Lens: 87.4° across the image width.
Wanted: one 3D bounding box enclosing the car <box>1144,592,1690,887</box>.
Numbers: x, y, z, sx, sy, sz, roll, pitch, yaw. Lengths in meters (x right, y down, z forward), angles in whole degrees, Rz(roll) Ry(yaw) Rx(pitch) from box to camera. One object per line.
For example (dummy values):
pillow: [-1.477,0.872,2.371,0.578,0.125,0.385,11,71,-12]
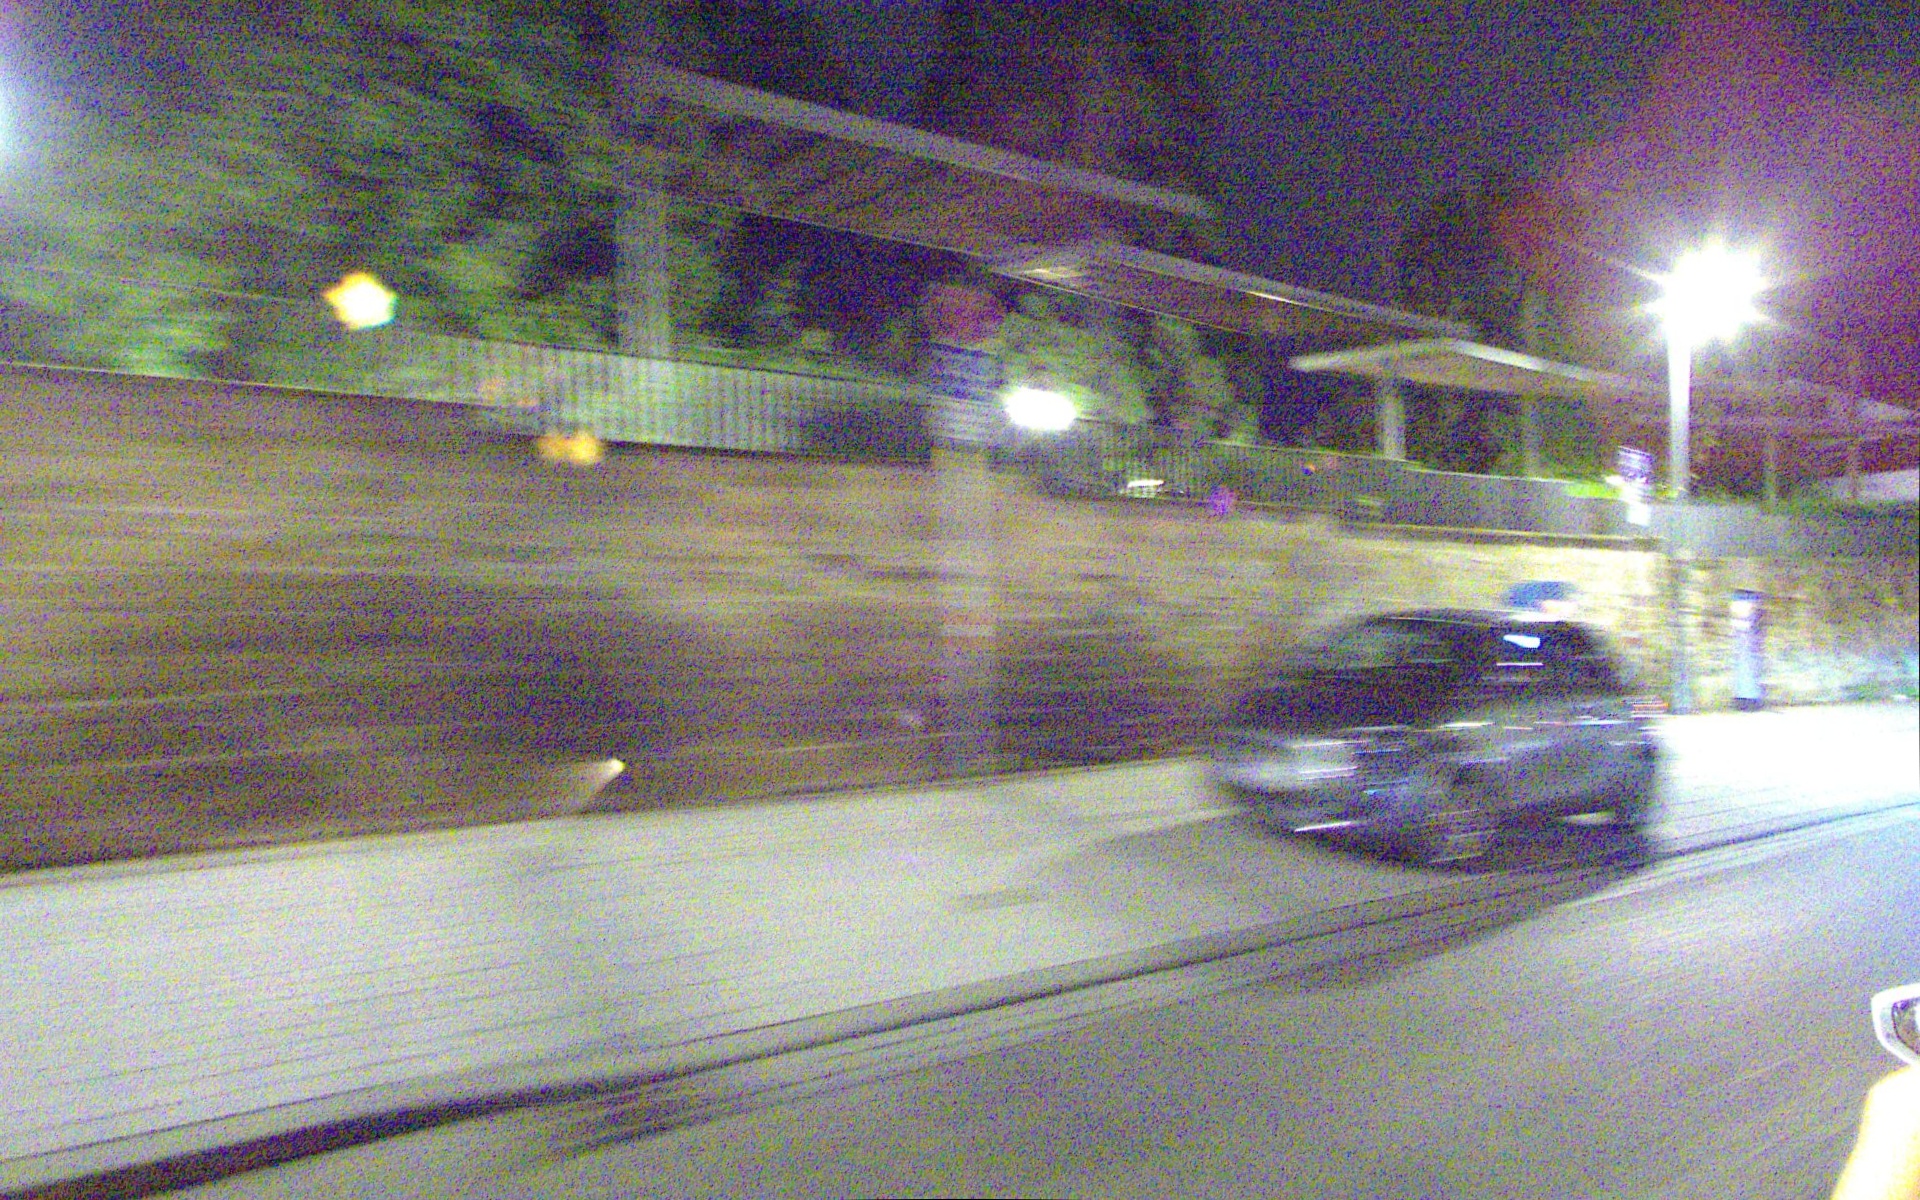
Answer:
car: [3.251,0.800,7.006,3.650,1.544,1.683,2,0,-31]
